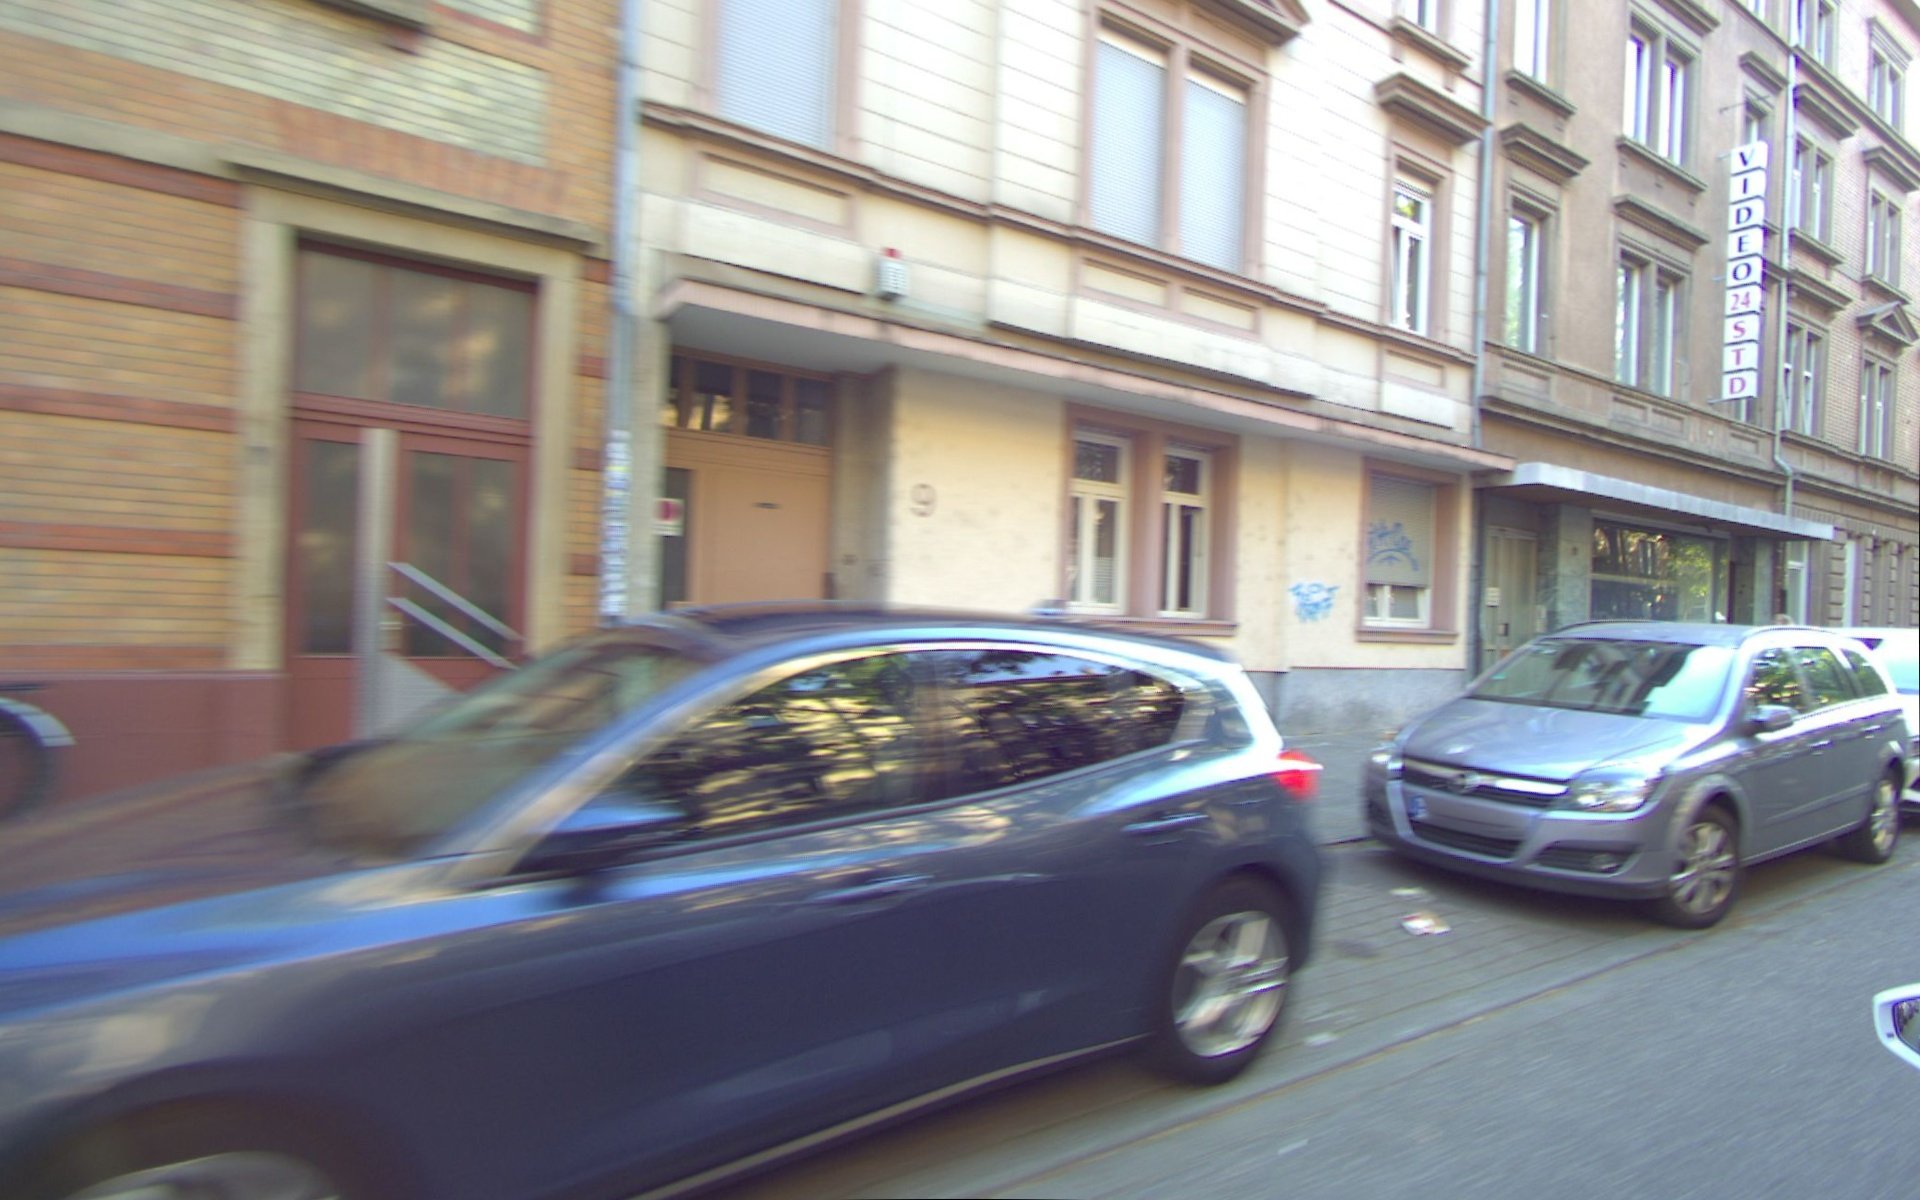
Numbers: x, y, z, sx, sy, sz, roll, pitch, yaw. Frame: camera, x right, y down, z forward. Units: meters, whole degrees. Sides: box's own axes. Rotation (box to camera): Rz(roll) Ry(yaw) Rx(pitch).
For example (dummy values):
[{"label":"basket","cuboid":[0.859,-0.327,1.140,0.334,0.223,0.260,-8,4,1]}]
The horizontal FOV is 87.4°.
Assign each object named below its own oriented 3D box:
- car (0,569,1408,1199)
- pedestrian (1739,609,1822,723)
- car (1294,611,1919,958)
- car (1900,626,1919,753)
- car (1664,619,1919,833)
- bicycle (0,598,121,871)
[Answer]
[{"label":"car","cuboid":[-0.686,0.727,3.039,4.199,1.492,1.736,2,0,-33]},{"label":"pedestrian","cuboid":[12.494,0.978,15.291,1.008,1.653,0.691,1,0,-34]},{"label":"car","cuboid":[4.358,0.862,6.411,4.495,1.463,1.874,2,0,-34]},{"label":"car","cuboid":[13.574,1.112,12.351,4.438,1.492,1.852,2,0,-32]},{"label":"car","cuboid":[8.151,0.958,8.935,4.045,1.492,1.746,2,0,-34]},{"label":"bicycle","cuboid":[-5.490,0.626,4.481,2.647,1.297,0.623,2,0,-40]}]
